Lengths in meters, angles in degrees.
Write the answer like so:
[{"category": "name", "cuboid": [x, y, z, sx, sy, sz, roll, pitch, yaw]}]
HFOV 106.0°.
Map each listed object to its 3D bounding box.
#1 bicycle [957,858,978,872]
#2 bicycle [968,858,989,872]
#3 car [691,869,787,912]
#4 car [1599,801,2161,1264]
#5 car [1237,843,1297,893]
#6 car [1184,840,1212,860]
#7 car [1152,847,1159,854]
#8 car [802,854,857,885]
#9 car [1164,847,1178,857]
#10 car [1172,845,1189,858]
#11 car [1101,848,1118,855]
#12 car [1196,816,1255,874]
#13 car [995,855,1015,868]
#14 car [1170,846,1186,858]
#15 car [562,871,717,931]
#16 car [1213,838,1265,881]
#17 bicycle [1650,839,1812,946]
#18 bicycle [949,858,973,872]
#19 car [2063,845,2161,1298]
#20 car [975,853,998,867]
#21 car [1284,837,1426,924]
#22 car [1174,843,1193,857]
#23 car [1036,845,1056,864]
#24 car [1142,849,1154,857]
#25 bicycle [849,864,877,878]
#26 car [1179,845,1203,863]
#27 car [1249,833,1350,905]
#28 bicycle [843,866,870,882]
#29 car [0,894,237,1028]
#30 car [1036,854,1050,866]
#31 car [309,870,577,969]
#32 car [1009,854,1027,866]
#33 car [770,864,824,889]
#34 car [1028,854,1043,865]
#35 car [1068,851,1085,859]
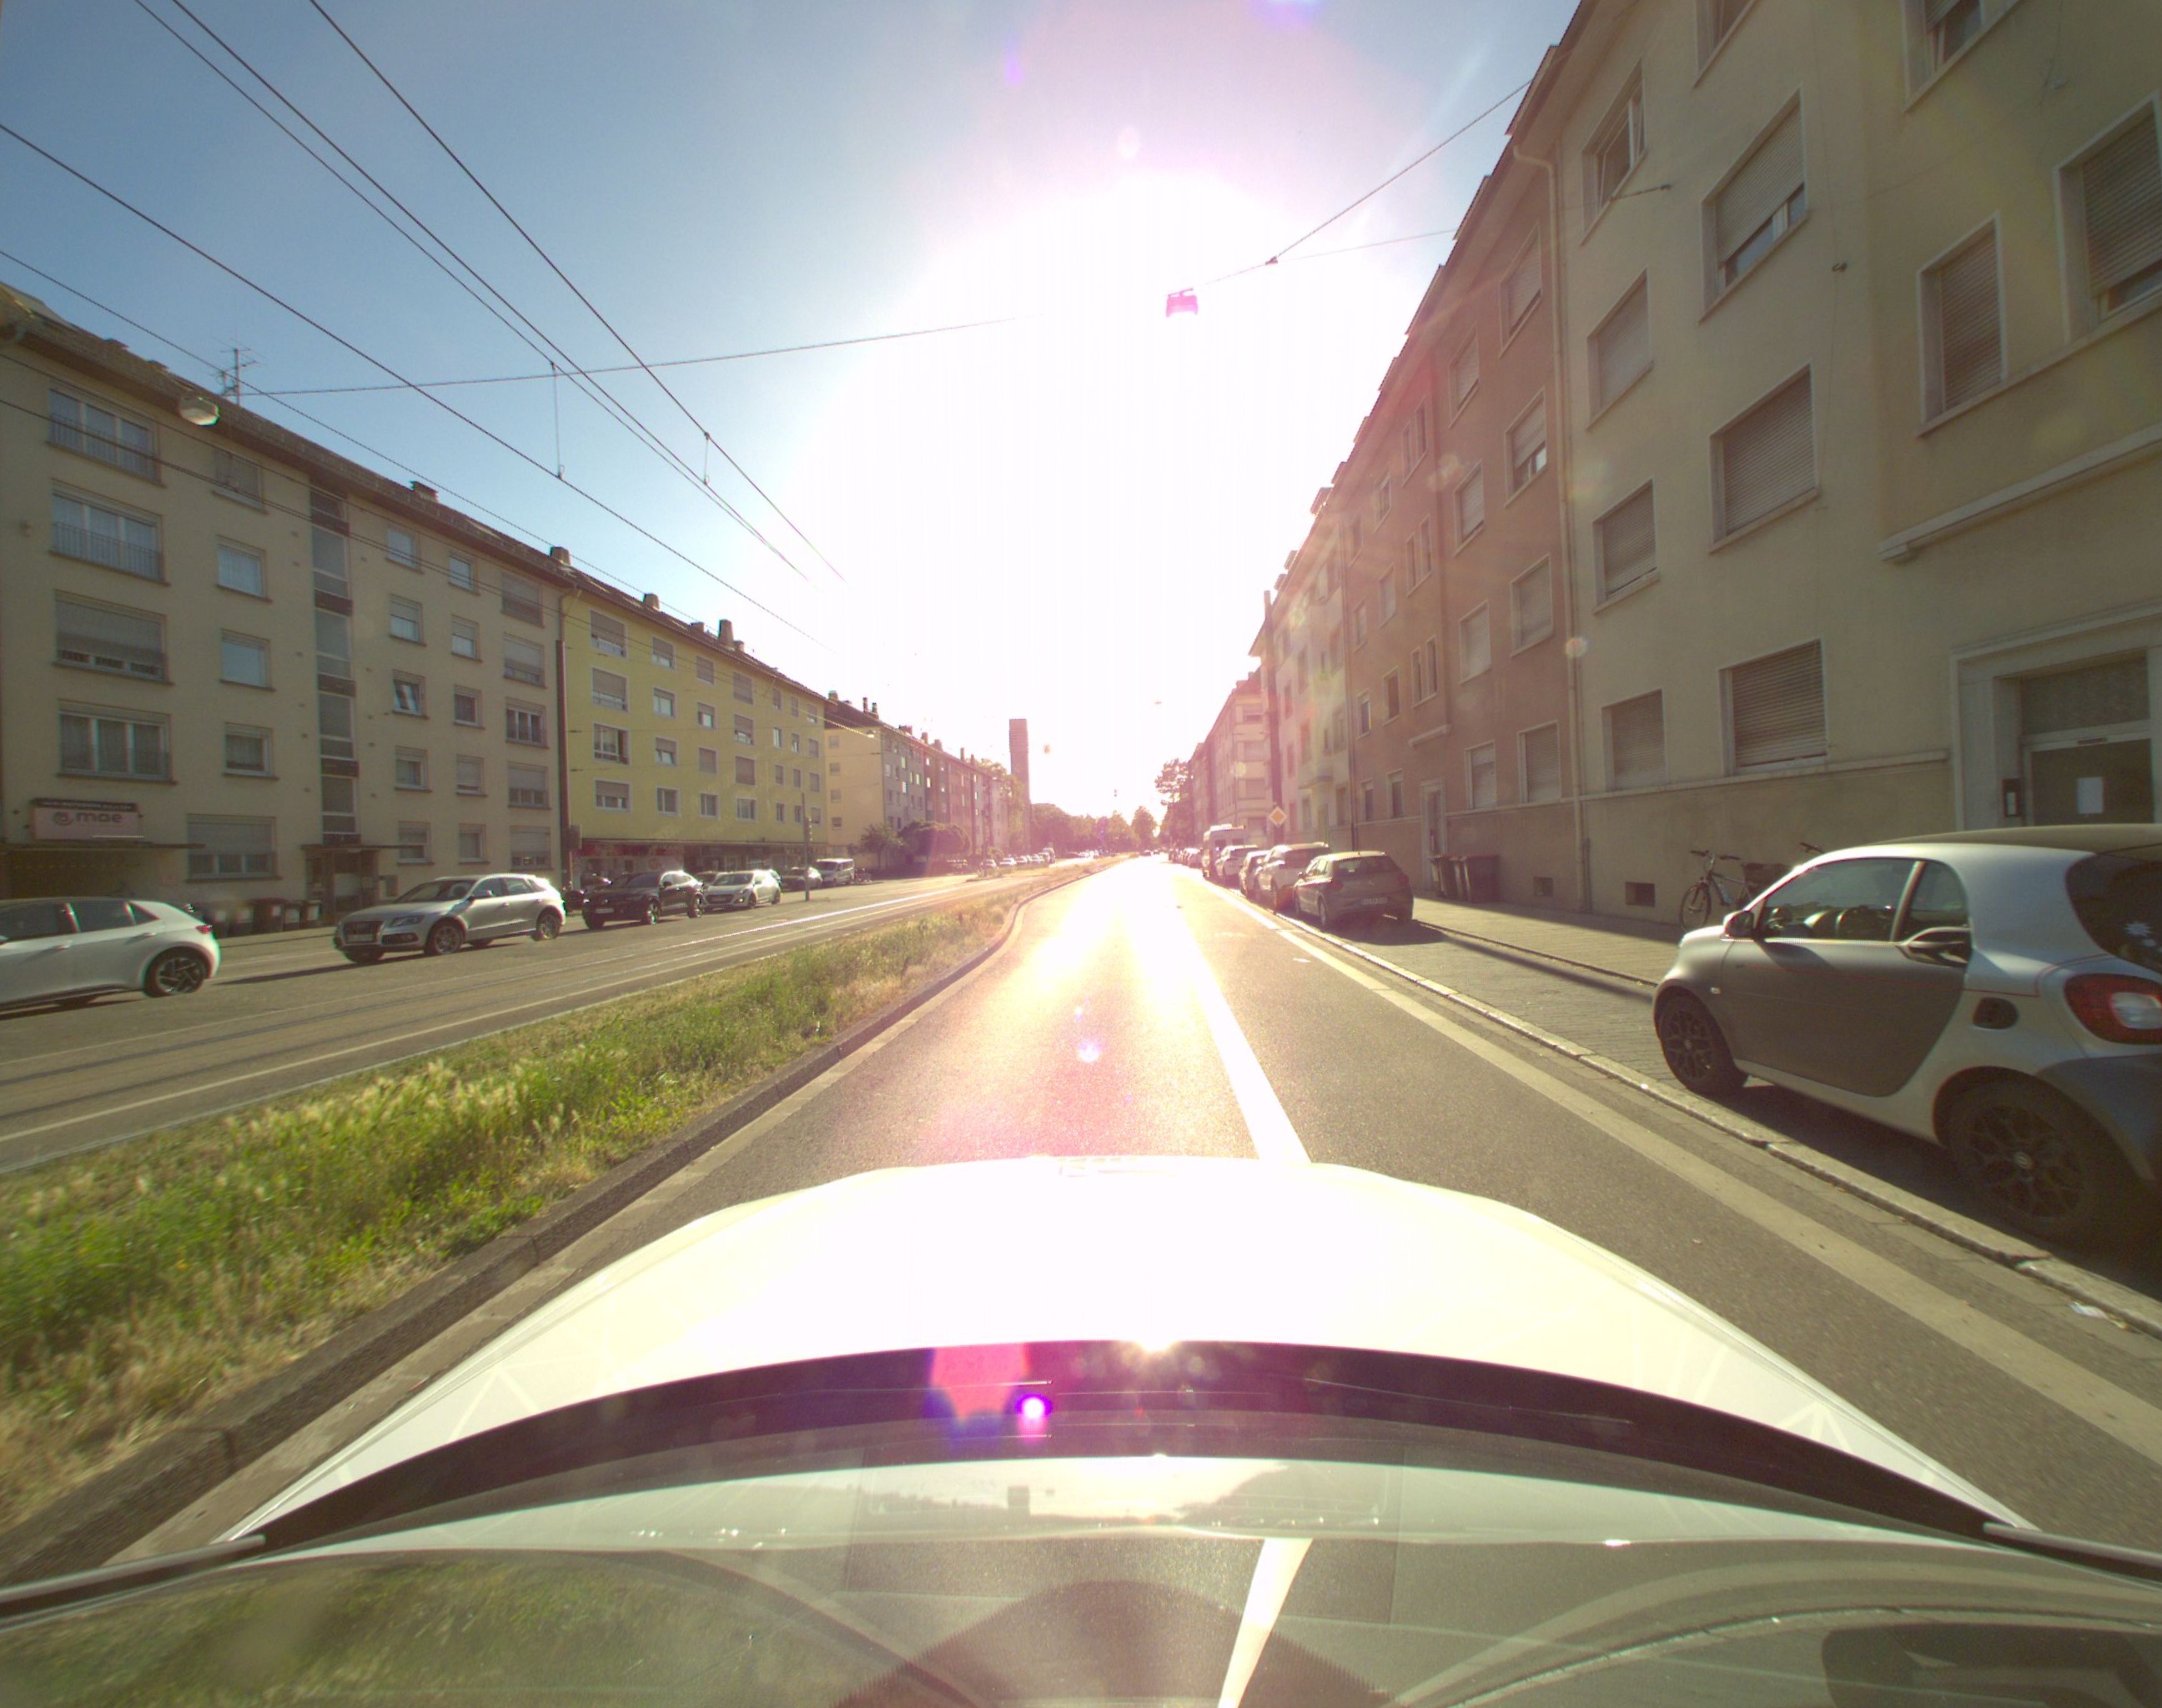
[{"category": "bicycle", "cuboid": [-12.084, 1.167, 86.697, 2.121, 1.324, 0.896, -3, -2, -2]}, {"category": "bicycle", "cuboid": [-11.179, 1.205, 89.002, 2.129, 1.324, 0.893, -3, -2, -13]}, {"category": "car", "cuboid": [-13.114, 1.350, 31.511, 1.817, 1.446, 4.284, -3, -1, 0]}, {"category": "car", "cuboid": [4.400, 0.569, 4.214, 1.546, 1.526, 2.991, -4, -1, 3]}, {"category": "car", "cuboid": [6.102, 0.416, 27.021, 1.494, 1.426, 3.460, -5, 0, 7]}, {"category": "car", "cuboid": [9.874, -0.292, 68.943, 1.889, 1.487, 3.741, -3, -2, 2]}, {"category": "car", "cuboid": [21.010, -0.961, 230.473, 1.835, 1.687, 4.004, -3, -2, 4]}, {"category": "car", "cuboid": [-18.392, 1.108, 59.883, 1.995, 2.105, 5.310, -3, 0, 3]}, {"category": "car", "cuboid": [14.323, -0.304, 129.411, 1.889, 1.487, 3.742, -3, -2, 3]}, {"category": "car", "cuboid": [12.595, -0.287, 103.484, 1.889, 1.487, 3.742, -3, -2, 3]}, {"category": "car", "cuboid": [7.450, -0.620, 213.060, 3.992, 1.684, 1.991, -3, -2, -14]}, {"category": "car", "cuboid": [7.405, -0.447, 42.371, 2.149, 2.651, 5.648, -5, 0, 3]}, {"category": "car", "cuboid": [-10.027, 0.988, 108.033, 1.985, 1.581, 4.002, -3, -2, 3]}, {"category": "car", "cuboid": [13.572, -0.251, 114.117, 1.889, 1.487, 3.742, -3, -2, 3]}, {"category": "car", "cuboid": [-13.216, 1.351, 24.775, 1.955, 1.480, 4.572, -3, -1, 3]}, {"category": "car", "cuboid": [6.760, 0.196, 35.214, 1.583, 1.634, 3.922, -5, 0, 3]}, {"category": "bicycle", "cuboid": [8.223, 0.432, 10.426, 0.626, 1.192, 1.885, -5, 0, 6]}, {"category": "bicycle", "cuboid": [-12.482, 1.159, 84.920, 2.300, 1.305, 0.913, -3, -2, 1]}, {"category": "car", "cuboid": [4.096, 0.621, 0.297, 1.875, 1.398, 4.747, -5, 0, 4]}, {"category": "car", "cuboid": [-11.008, 0.709, 95.234, 1.986, 1.453, 4.002, -3, -2, 2]}, {"category": "car", "cuboid": [5.592, 0.483, 17.182, 1.765, 1.471, 4.098, -5, 0, 4]}, {"category": "car", "cuboid": [12.011, -0.445, 95.668, 1.889, 1.487, 3.742, -3, -2, 3]}, {"category": "car", "cuboid": [-6.533, 0.089, 153.512, 2.973, 3.238, 6.797, -3, -2, 3]}, {"category": "car", "cuboid": [15.306, -0.225, 186.325, 1.989, 1.783, 3.996, -3, -2, -2]}, {"category": "bicycle", "cuboid": [-17.704, 1.395, 66.159, 2.073, 1.022, 0.801, -3, -2, -9]}, {"category": "car", "cuboid": [10.694, 0.026, 79.491, 1.889, 1.487, 3.741, -3, -2, 2]}, {"category": "car", "cuboid": [5.842, 0.358, 22.233, 1.655, 1.644, 4.187, -5, 0, 2]}, {"category": "bicycle", "cuboid": [-17.717, 1.582, 64.183, 1.972, 1.206, 0.691, -2, -2, -23]}, {"category": "car", "cuboid": [-14.036, 1.406, 10.438, 1.831, 1.515, 4.246, -3, -1, 3]}, {"category": "car", "cuboid": [-6.765, 1.085, 144.659, 1.985, 1.965, 4.754, -3, -2, 3]}, {"category": "car", "cuboid": [-13.446, 1.281, 17.641, 1.857, 1.577, 4.635, -5, 0, 4]}, {"category": "car", "cuboid": [-9.098, 0.874, 118.332, 1.985, 1.554, 4.002, -3, -2, 3]}, {"category": "car", "cuboid": [-18.707, 1.464, 53.769, 1.755, 1.488, 3.924, -3, -2, 7]}, {"category": "car", "cuboid": [-7.402, 0.939, 133.029, 1.985, 1.554, 4.002, -3, -2, 3]}, {"category": "car", "cuboid": [-1.180, 0.285, 211.595, 4.282, 1.783, 2.003, -3, -2, 5]}]
